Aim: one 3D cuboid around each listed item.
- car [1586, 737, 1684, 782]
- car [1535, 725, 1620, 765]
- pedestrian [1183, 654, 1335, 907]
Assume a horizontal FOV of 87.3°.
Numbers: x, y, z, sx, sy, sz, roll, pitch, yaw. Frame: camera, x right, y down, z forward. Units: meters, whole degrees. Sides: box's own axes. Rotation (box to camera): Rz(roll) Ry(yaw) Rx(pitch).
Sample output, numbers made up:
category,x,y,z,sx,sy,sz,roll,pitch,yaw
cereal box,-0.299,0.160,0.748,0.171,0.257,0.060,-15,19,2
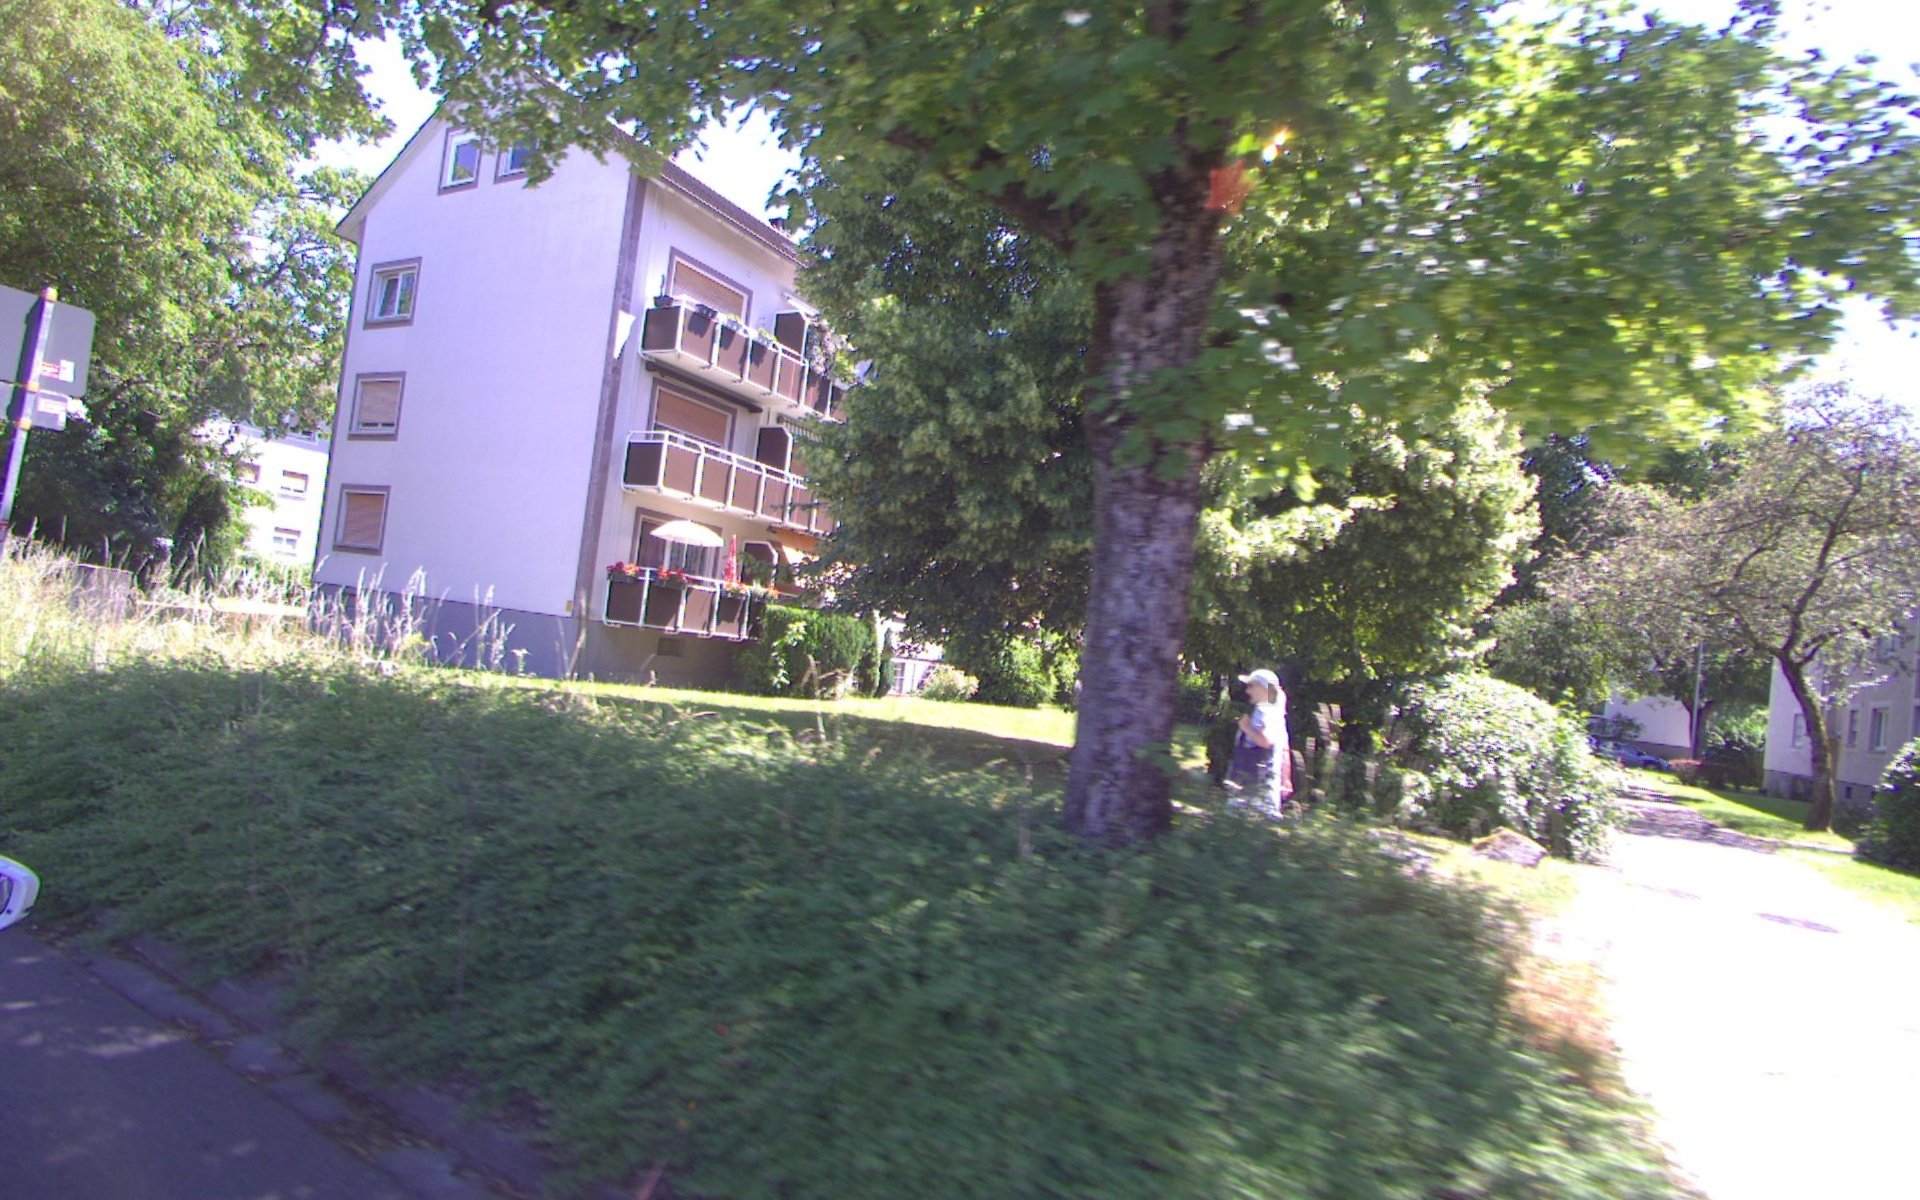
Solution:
category,x,y,z,sx,sy,sz,roll,pitch,yaw
car,35.455,8.359,52.957,4.077,1.645,1.686,5,-3,32
car,36.042,8.443,58.818,4.077,1.645,1.686,5,-3,32
pedestrian,2.218,1.277,7.421,0.836,1.652,0.720,6,-1,25
